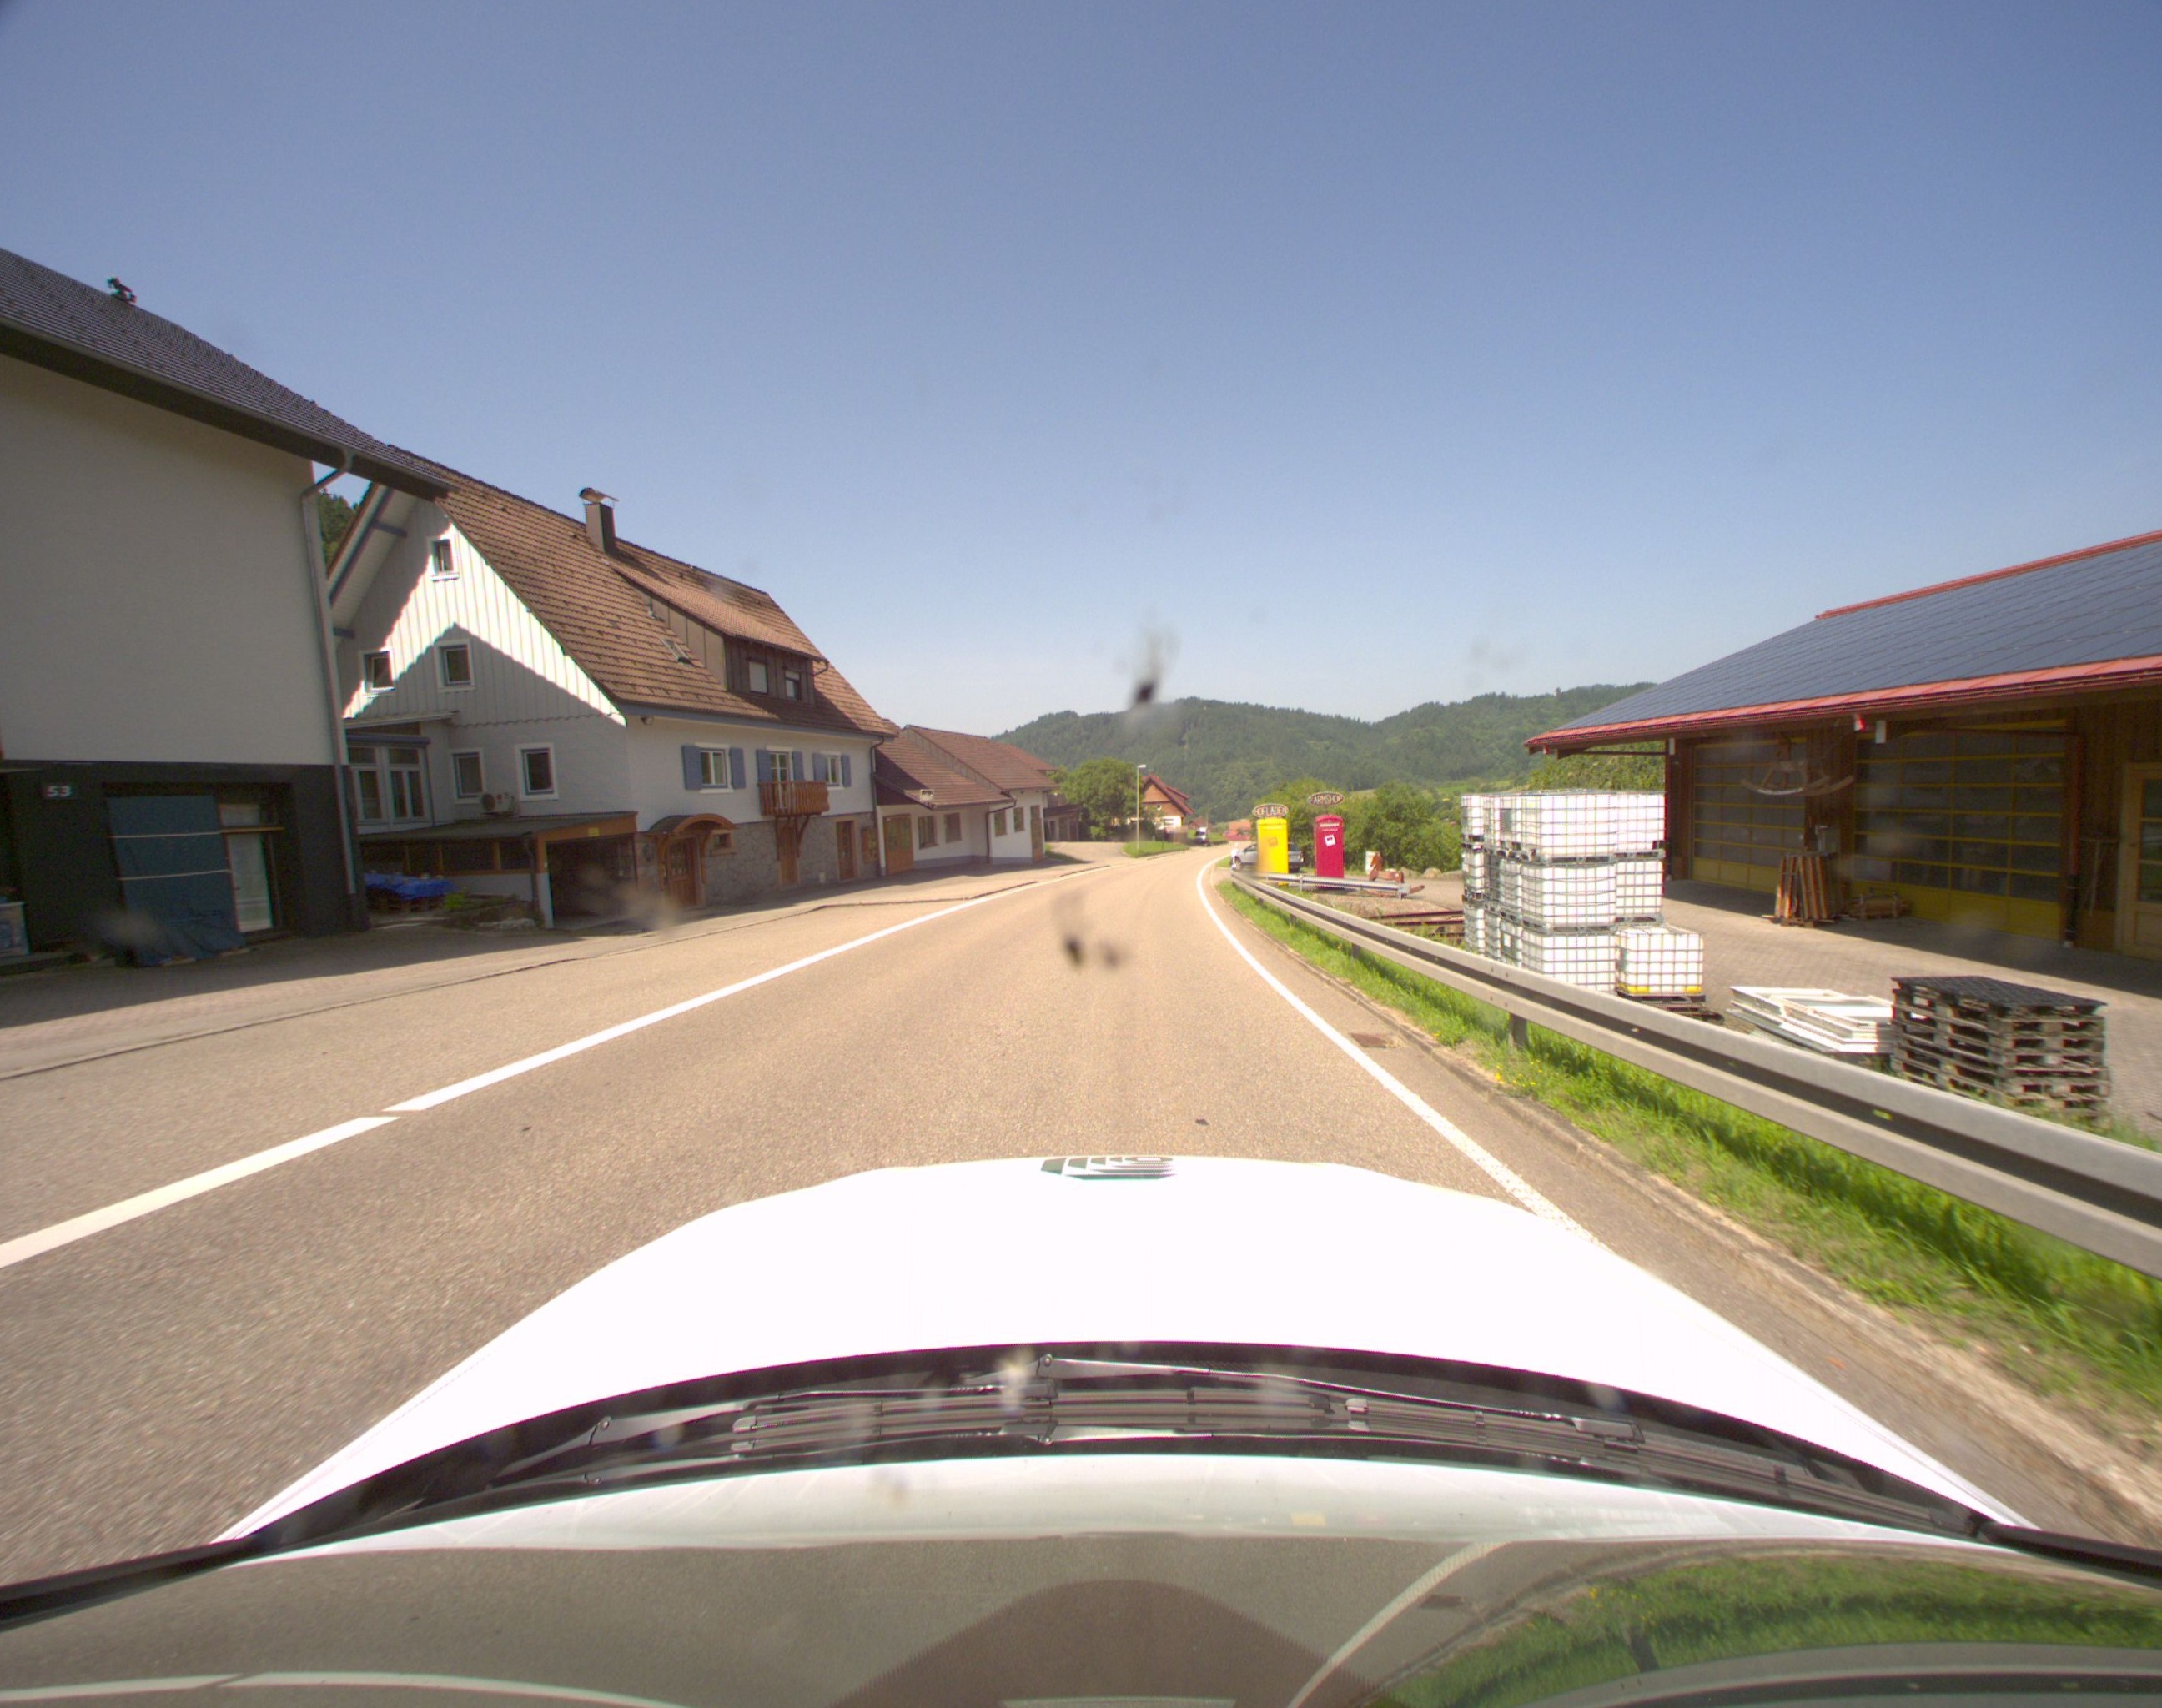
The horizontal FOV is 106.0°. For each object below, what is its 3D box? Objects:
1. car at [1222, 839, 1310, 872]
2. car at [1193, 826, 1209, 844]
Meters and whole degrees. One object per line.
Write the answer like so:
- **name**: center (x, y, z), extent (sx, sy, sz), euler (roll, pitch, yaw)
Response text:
- **car**: center (9.459, 0.017, 41.921), extent (1.912, 1.570, 4.419), euler (0, 1, -31)
- **car**: center (21.177, -3.369, 143.045), extent (2.053, 2.687, 7.203), euler (-2, 4, 14)
